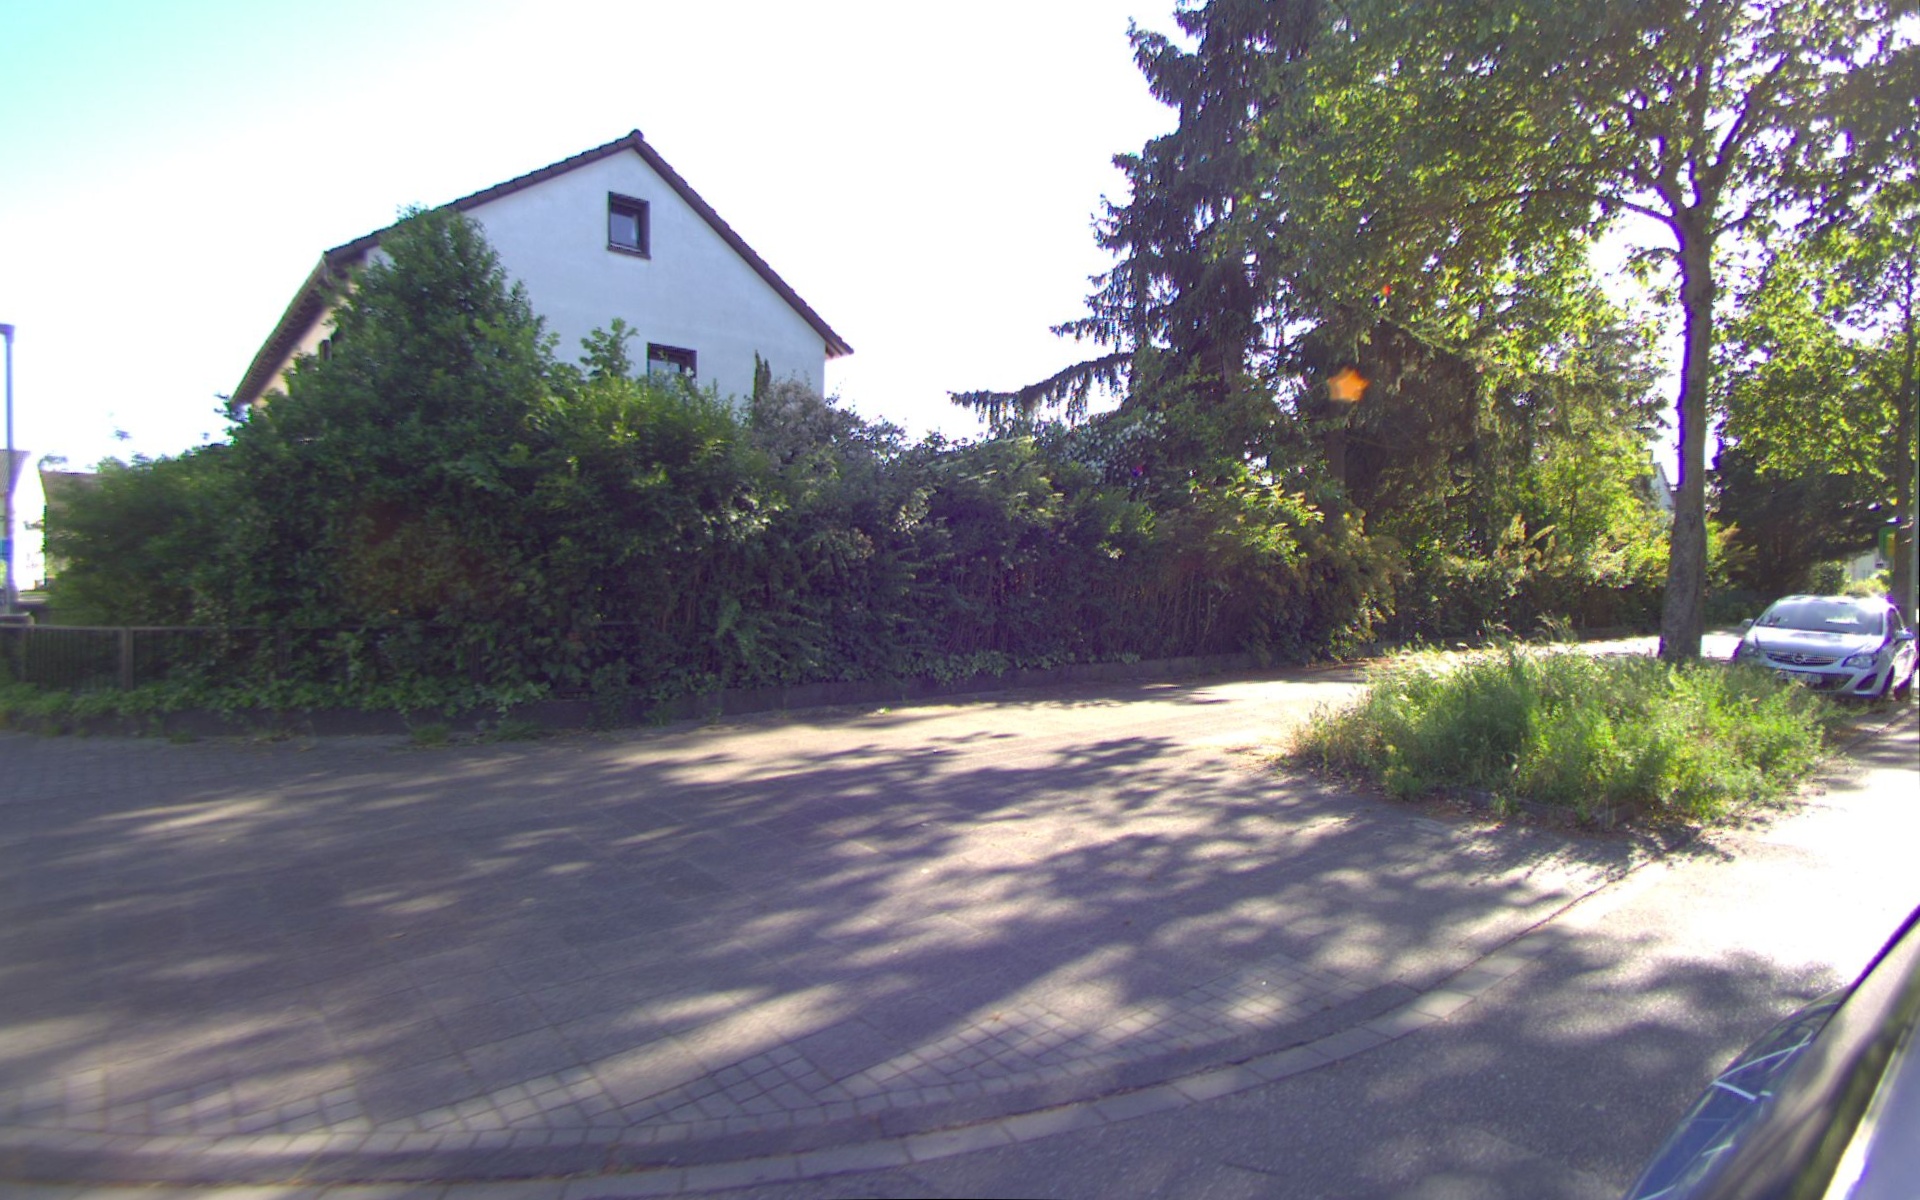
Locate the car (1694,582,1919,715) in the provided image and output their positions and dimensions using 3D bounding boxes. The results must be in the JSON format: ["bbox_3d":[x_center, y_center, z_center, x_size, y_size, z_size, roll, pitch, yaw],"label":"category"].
[{"bbox_3d":[12.534,0.572,14.519,3.923,1.528,2.001,-2,3,-34],"label":"car"}]
